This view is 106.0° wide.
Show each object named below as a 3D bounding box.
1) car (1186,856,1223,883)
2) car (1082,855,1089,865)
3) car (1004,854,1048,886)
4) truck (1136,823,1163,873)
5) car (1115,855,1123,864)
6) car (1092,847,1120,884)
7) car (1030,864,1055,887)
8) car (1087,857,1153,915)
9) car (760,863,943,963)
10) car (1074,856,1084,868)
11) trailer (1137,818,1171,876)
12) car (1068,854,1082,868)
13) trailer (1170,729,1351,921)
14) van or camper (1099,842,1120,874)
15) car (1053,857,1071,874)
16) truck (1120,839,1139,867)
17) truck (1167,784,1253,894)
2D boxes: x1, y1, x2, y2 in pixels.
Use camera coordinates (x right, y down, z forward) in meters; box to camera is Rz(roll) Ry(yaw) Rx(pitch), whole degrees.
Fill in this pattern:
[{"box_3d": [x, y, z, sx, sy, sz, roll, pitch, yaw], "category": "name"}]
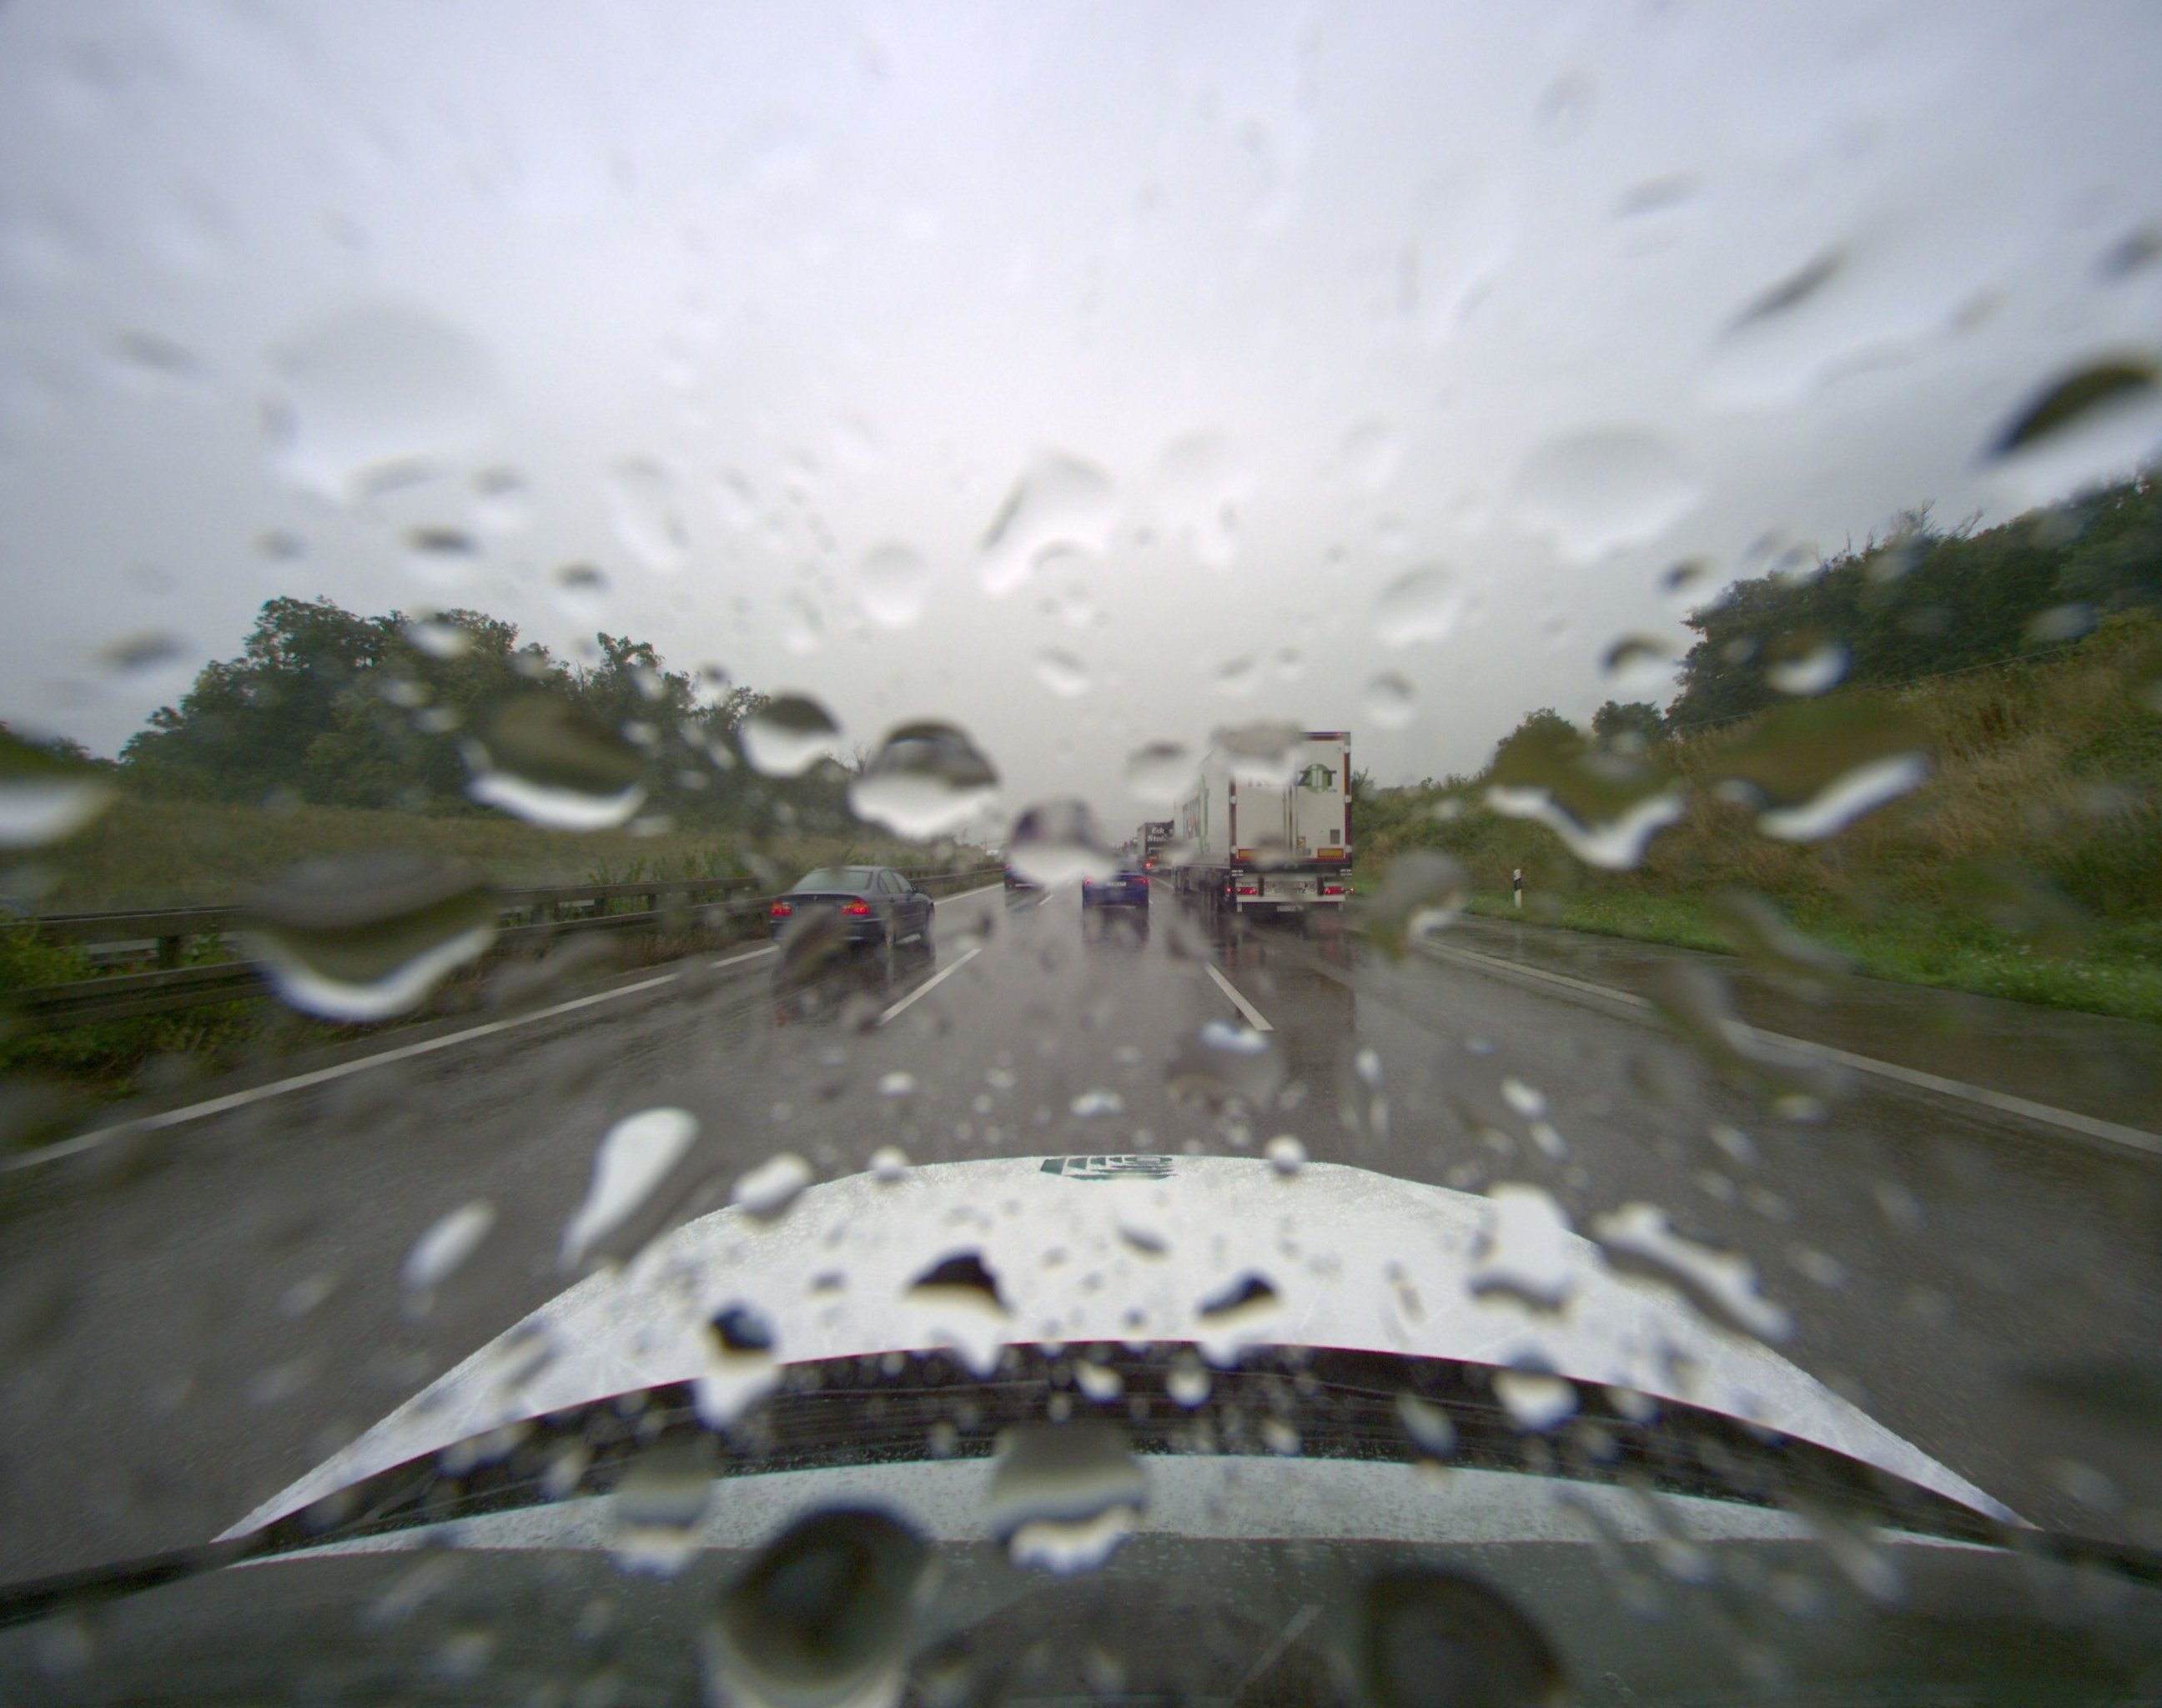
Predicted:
[{"box_3d": [6.161, 0.755, 40.890, 1.418, 1.288, 3.462, -1, 0, 2], "category": "car"}, {"box_3d": [0.897, 1.183, 159.490, 1.443, 1.784, 3.410, -1, -1, 2], "category": "car"}, {"box_3d": [-2.688, 0.765, 40.571, 1.715, 1.523, 4.003, -1, 0, 3], "category": "car"}, {"box_3d": [5.949, -0.504, 71.132, 2.039, 4.193, 4.002, -1, 0, 2], "category": "truck"}, {"box_3d": [7.206, 1.088, 155.299, 1.443, 1.784, 3.410, -1, -1, 2], "category": "car"}, {"box_3d": [1.247, 0.567, 41.068, 1.332, 1.780, 3.323, -1, 0, 2], "category": "car"}, {"box_3d": [-2.560, 1.422, 54.842, 1.354, 1.431, 3.365, -1, 0, 2], "category": "car"}, {"box_3d": [1.078, 0.813, 22.505, 1.629, 1.445, 4.002, -1, 0, 2], "category": "car"}, {"box_3d": [-3.713, 0.883, 14.002, 1.711, 1.400, 4.233, -1, 0, 3], "category": "car"}, {"box_3d": [-0.275, 1.263, 126.388, 1.443, 1.784, 3.410, -1, -1, 2], "category": "car"}, {"box_3d": [5.746, -0.527, 65.476, 2.039, 4.176, 11.452, -1, 0, 2], "category": "trailer"}, {"box_3d": [-0.648, 0.819, 91.661, 1.434, 1.533, 3.323, -1, 0, 2], "category": "car"}, {"box_3d": [4.598, -0.625, 24.554, 2.620, 4.013, 14.635, -1, 0, 2], "category": "trailer"}, {"box_3d": [2.631, 0.372, 74.969, 1.791, 2.806, 4.769, -1, 0, 2], "category": "van or camper"}, {"box_3d": [-1.716, 1.018, 73.926, 1.434, 1.420, 3.323, -1, 0, 2], "category": "car"}, {"box_3d": [6.285, -0.166, 106.734, 1.987, 3.421, 8.032, -1, 0, 1], "category": "truck"}, {"box_3d": [4.817, -0.534, 31.222, 2.621, 3.827, 4.793, -1, 0, 2], "category": "truck"}]
